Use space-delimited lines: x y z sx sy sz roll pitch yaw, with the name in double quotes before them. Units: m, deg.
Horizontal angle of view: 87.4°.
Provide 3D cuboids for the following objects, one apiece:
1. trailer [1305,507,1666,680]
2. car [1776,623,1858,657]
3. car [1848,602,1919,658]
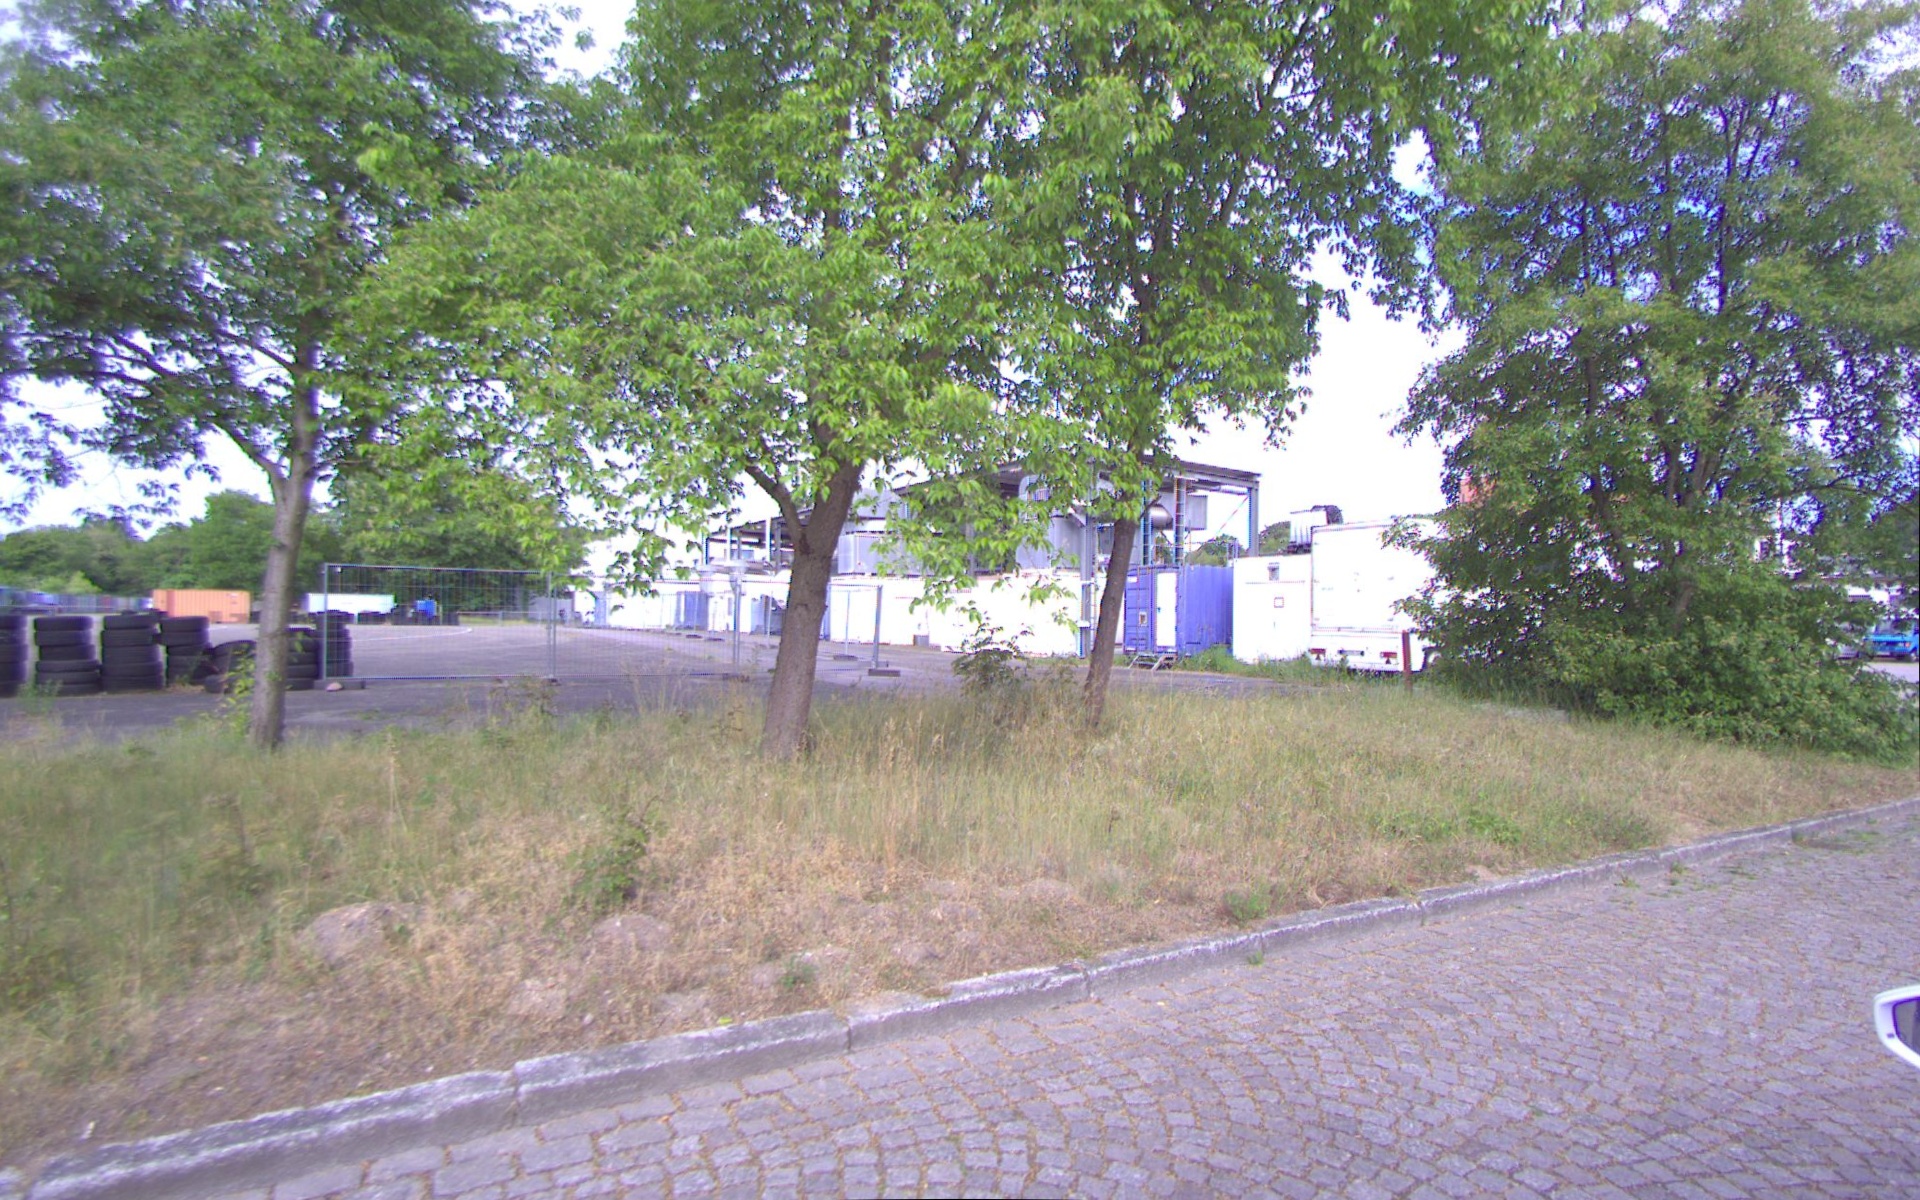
"trailer" 13.536 -0.010 25.390 10.588 3.755 2.646 1 -1 -28
"car" 42.830 1.986 50.217 3.952 1.596 1.892 1 -1 -29
"car" 45.318 1.467 48.388 5.546 2.557 1.986 1 -1 -27
